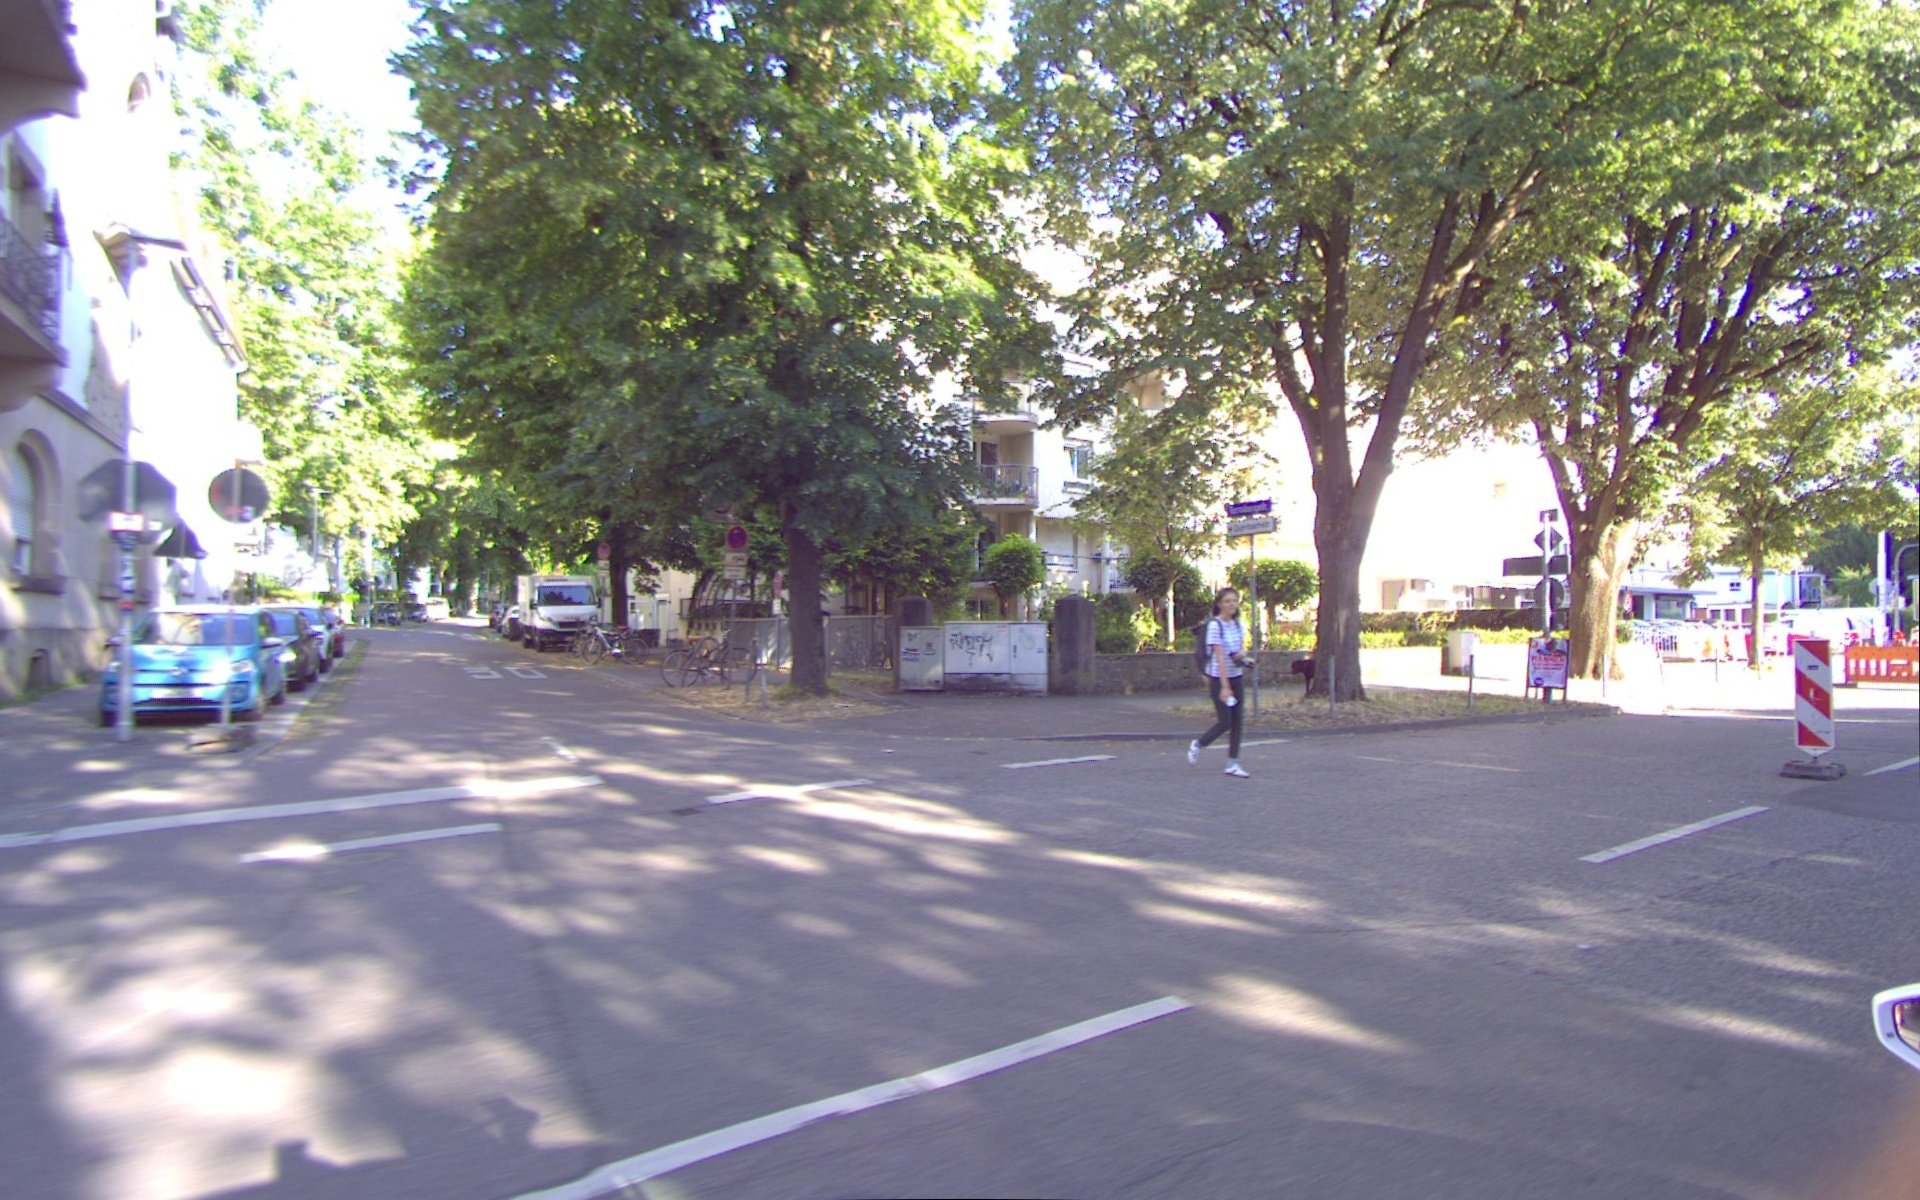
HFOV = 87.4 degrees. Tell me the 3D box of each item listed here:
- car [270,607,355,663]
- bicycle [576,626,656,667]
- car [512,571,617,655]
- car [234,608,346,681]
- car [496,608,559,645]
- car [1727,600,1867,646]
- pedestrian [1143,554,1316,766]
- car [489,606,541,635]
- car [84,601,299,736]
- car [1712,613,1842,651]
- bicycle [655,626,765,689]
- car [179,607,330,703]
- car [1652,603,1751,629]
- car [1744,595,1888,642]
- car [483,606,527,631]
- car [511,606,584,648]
[{"bbox_3d":[-18.893,0.988,29.408,1.978,1.506,3.965,0,-1,-32],"label":"car"},{"bbox_3d":[-9.002,1.219,26.370,1.901,1.023,0.926,1,0,-14],"label":"bicycle"},{"bbox_3d":[-13.434,0.459,33.928,2.431,2.599,5.207,0,-1,-32],"label":"car"},{"bbox_3d":[-15.219,0.970,22.991,1.978,1.506,3.965,0,-1,-32],"label":"car"},{"bbox_3d":[-18.791,1.128,43.545,1.978,1.506,3.965,0,-1,-32],"label":"car"},{"bbox_3d":[36.488,0.968,43.906,1.977,1.876,4.291,0,0,-31],"label":"car"},{"bbox_3d":[2.477,0.522,9.294,1.176,1.805,1.039,0,-1,-26],"label":"pedestrian"},{"bbox_3d":[-23.636,1.079,53.265,1.978,1.506,3.965,0,-1,-32],"label":"car"},{"bbox_3d":[-10.452,0.844,13.973,1.978,1.572,3.965,0,-1,-32],"label":"car"},{"bbox_3d":[34.407,1.315,42.370,1.982,1.499,3.960,1,0,-38],"label":"car"},{"bbox_3d":[-4.676,1.052,18.771,1.906,1.091,0.744,1,0,-23],"label":"bicycle"},{"bbox_3d":[-12.507,0.912,18.040,1.978,1.506,3.965,0,-1,-32],"label":"car"},{"bbox_3d":[43.226,0.930,58.681,1.970,1.417,4.307,1,0,-20],"label":"car"},{"bbox_3d":[38.782,0.807,45.599,2.097,1.991,4.635,0,0,-36],"label":"car"},{"bbox_3d":[-28.304,1.167,62.401,1.978,1.506,3.965,0,-1,-32],"label":"car"},{"bbox_3d":[-16.007,1.033,38.881,1.978,1.506,3.965,0,-1,-32],"label":"car"}]
